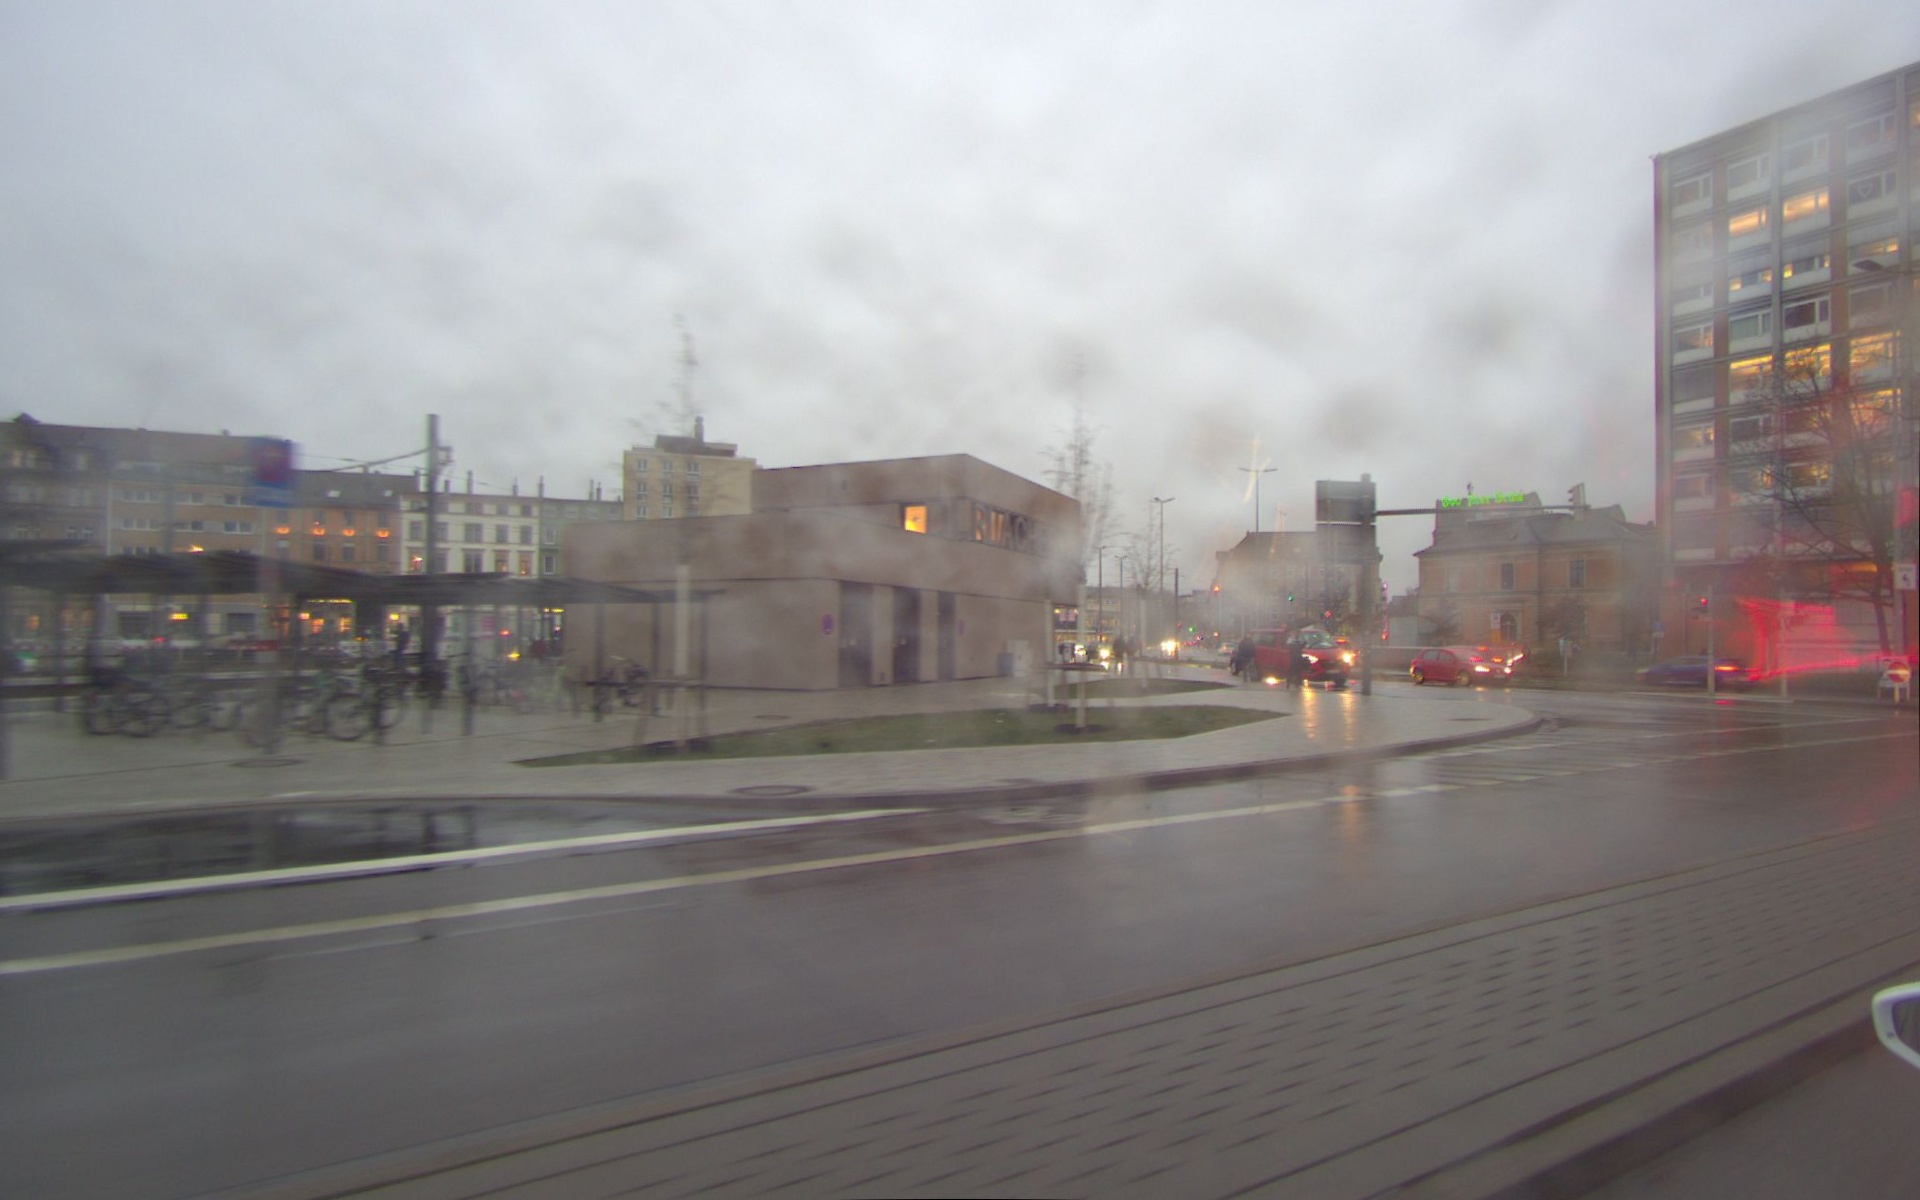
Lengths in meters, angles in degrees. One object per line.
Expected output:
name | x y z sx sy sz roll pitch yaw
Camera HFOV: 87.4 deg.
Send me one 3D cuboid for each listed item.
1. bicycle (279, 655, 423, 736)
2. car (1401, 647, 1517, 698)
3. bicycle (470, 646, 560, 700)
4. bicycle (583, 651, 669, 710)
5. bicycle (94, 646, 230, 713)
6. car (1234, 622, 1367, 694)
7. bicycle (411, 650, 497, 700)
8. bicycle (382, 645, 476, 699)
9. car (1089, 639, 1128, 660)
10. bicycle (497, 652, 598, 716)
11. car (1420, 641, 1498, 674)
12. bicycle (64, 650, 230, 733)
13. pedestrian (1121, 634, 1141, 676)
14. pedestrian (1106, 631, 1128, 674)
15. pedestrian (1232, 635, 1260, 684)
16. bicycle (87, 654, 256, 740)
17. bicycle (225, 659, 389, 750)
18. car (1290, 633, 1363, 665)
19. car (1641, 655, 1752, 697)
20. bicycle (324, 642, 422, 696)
bicycle | -9.696 1.491 16.069 0.540 1.180 1.895 2 -2 30
car | 19.441 2.799 39.351 1.732 1.706 4.069 3 -1 -17
bicycle | -10.260 1.663 23.240 0.540 1.180 1.895 2 -2 30
bicycle | -7.121 1.698 21.527 0.540 1.180 1.898 2 -1 25
bicycle | -15.030 1.480 18.981 0.540 1.180 1.895 2 -2 30
car | 12.331 2.037 36.756 2.220 2.311 5.025 3 -1 -13
bicycle | -12.588 1.850 25.041 0.540 1.180 1.895 2 -2 30
bicycle | -12.279 1.653 23.284 0.540 1.180 1.895 2 -2 30
car | 11.745 3.904 79.690 1.579 1.466 3.635 3 -1 -17
bicycle | -8.236 1.656 20.142 0.540 1.180 1.895 2 -2 30
car | 26.028 2.993 52.510 1.445 1.505 3.918 3 -1 -14
bicycle | -12.587 1.382 15.615 0.540 1.180 1.895 2 -2 30
pedestrian | 7.472 2.404 43.984 0.576 1.795 0.610 3 -1 -16
pedestrian | 6.855 2.290 43.897 0.670 1.839 0.692 3 -1 -16
pedestrian | 10.215 2.124 35.930 0.781 1.719 0.461 3 -1 -7
bicycle | -11.885 1.425 15.215 0.540 1.180 1.895 2 -2 30
bicycle | -9.331 1.460 14.449 0.540 1.180 1.895 2 -2 30
car | 24.111 3.203 66.310 1.966 1.938 5.157 1 -1 -14
car | 29.528 3.044 40.383 1.445 1.416 3.412 3 -1 -14
bicycle | -13.582 1.589 23.287 0.540 1.180 1.895 2 -2 30
